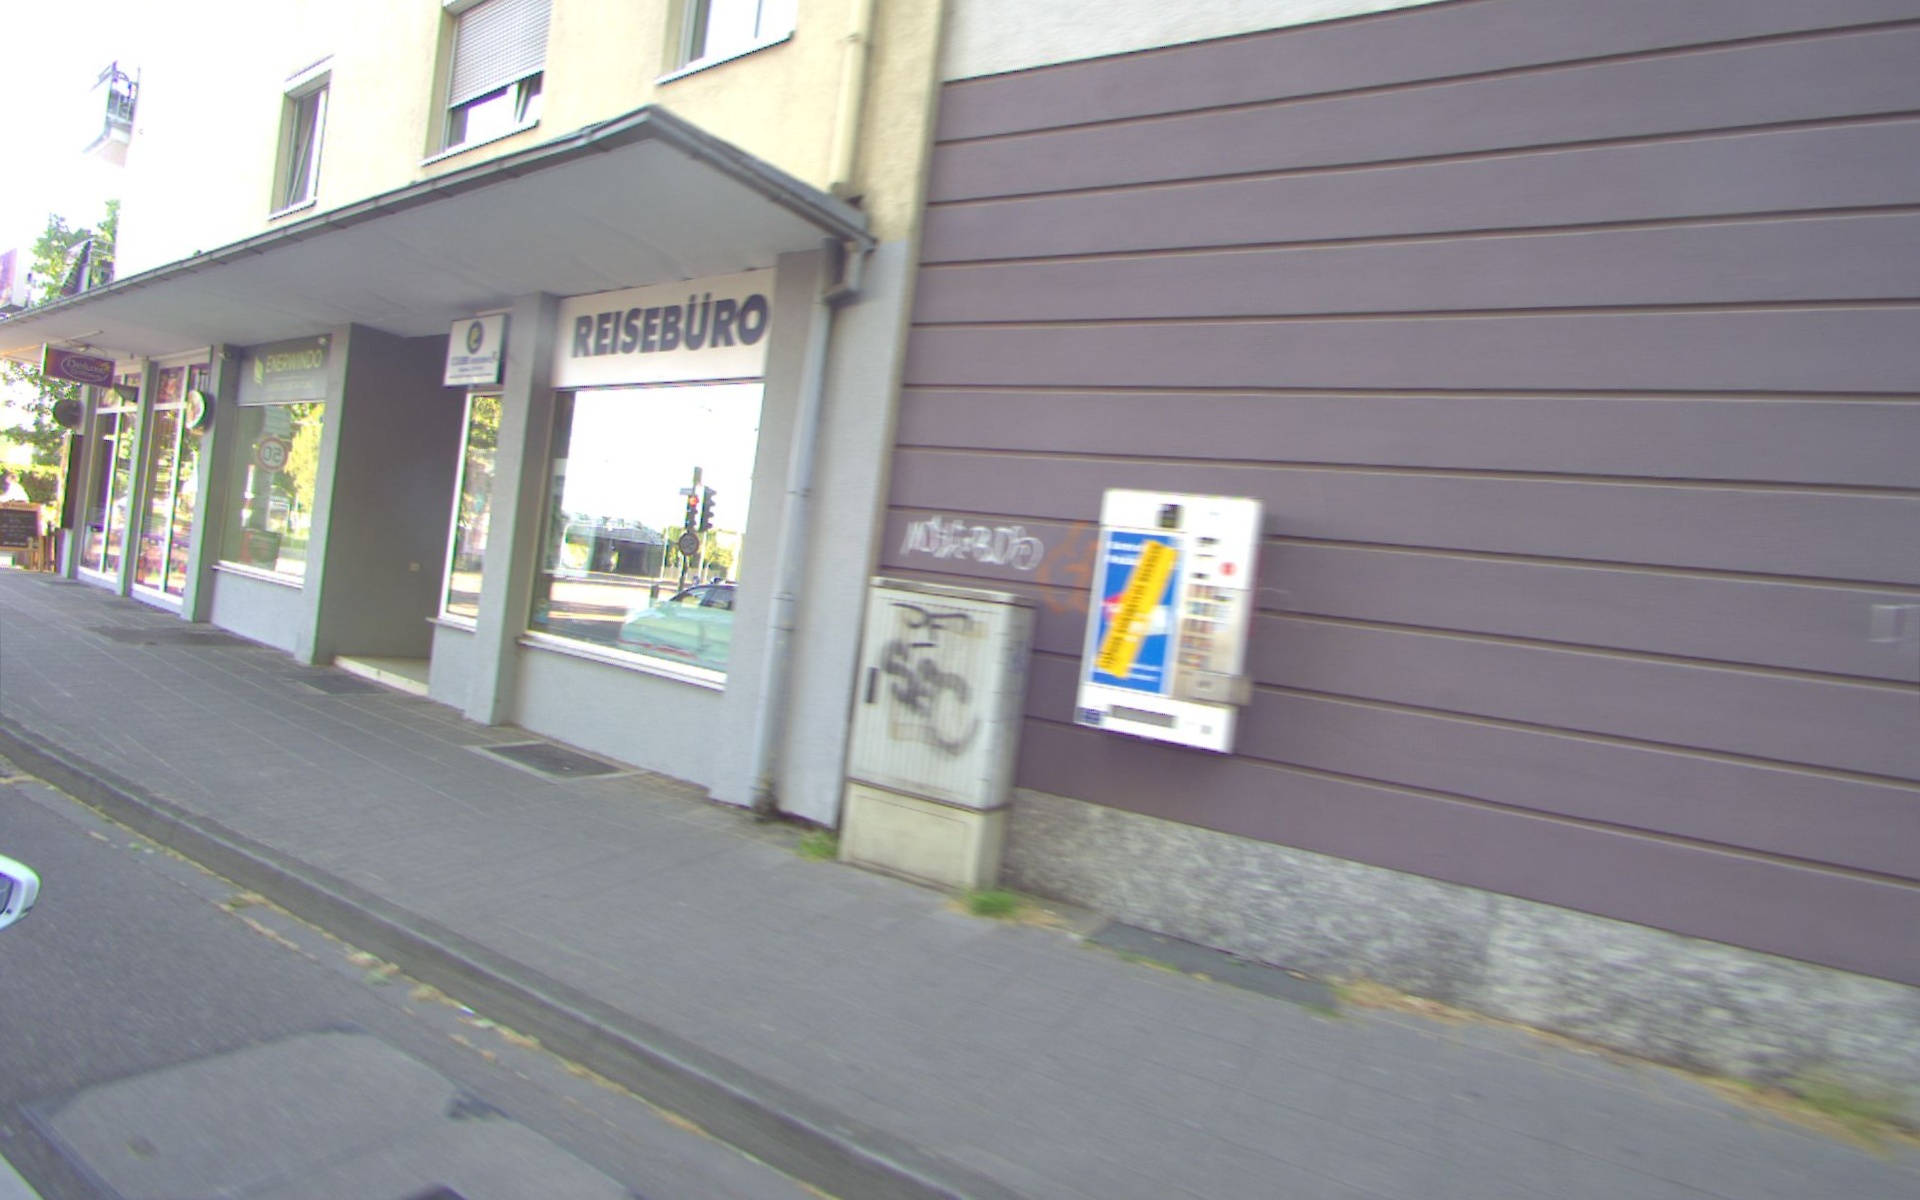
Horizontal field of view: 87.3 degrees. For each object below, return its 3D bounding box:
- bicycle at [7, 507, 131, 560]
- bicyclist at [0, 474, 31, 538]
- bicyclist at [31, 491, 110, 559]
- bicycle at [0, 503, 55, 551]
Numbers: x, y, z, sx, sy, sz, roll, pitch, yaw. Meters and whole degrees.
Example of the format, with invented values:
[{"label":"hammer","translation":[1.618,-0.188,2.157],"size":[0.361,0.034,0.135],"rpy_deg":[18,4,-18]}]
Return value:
[{"label":"bicycle","translation":[-22.985,-1.696,26.017],"size":[0.819,1.045,2.199],"rpy_deg":[7,-1,19]},{"label":"bicyclist","translation":[-25.429,-2.524,26.789],"size":[0.859,1.615,0.641],"rpy_deg":[7,0,-45]},{"label":"bicyclist","translation":[-22.968,-1.927,25.983],"size":[0.904,1.539,1.117],"rpy_deg":[7,0,19]},{"label":"bicycle","translation":[-25.520,-2.018,26.757],"size":[0.585,1.107,2.050],"rpy_deg":[7,0,45]}]
